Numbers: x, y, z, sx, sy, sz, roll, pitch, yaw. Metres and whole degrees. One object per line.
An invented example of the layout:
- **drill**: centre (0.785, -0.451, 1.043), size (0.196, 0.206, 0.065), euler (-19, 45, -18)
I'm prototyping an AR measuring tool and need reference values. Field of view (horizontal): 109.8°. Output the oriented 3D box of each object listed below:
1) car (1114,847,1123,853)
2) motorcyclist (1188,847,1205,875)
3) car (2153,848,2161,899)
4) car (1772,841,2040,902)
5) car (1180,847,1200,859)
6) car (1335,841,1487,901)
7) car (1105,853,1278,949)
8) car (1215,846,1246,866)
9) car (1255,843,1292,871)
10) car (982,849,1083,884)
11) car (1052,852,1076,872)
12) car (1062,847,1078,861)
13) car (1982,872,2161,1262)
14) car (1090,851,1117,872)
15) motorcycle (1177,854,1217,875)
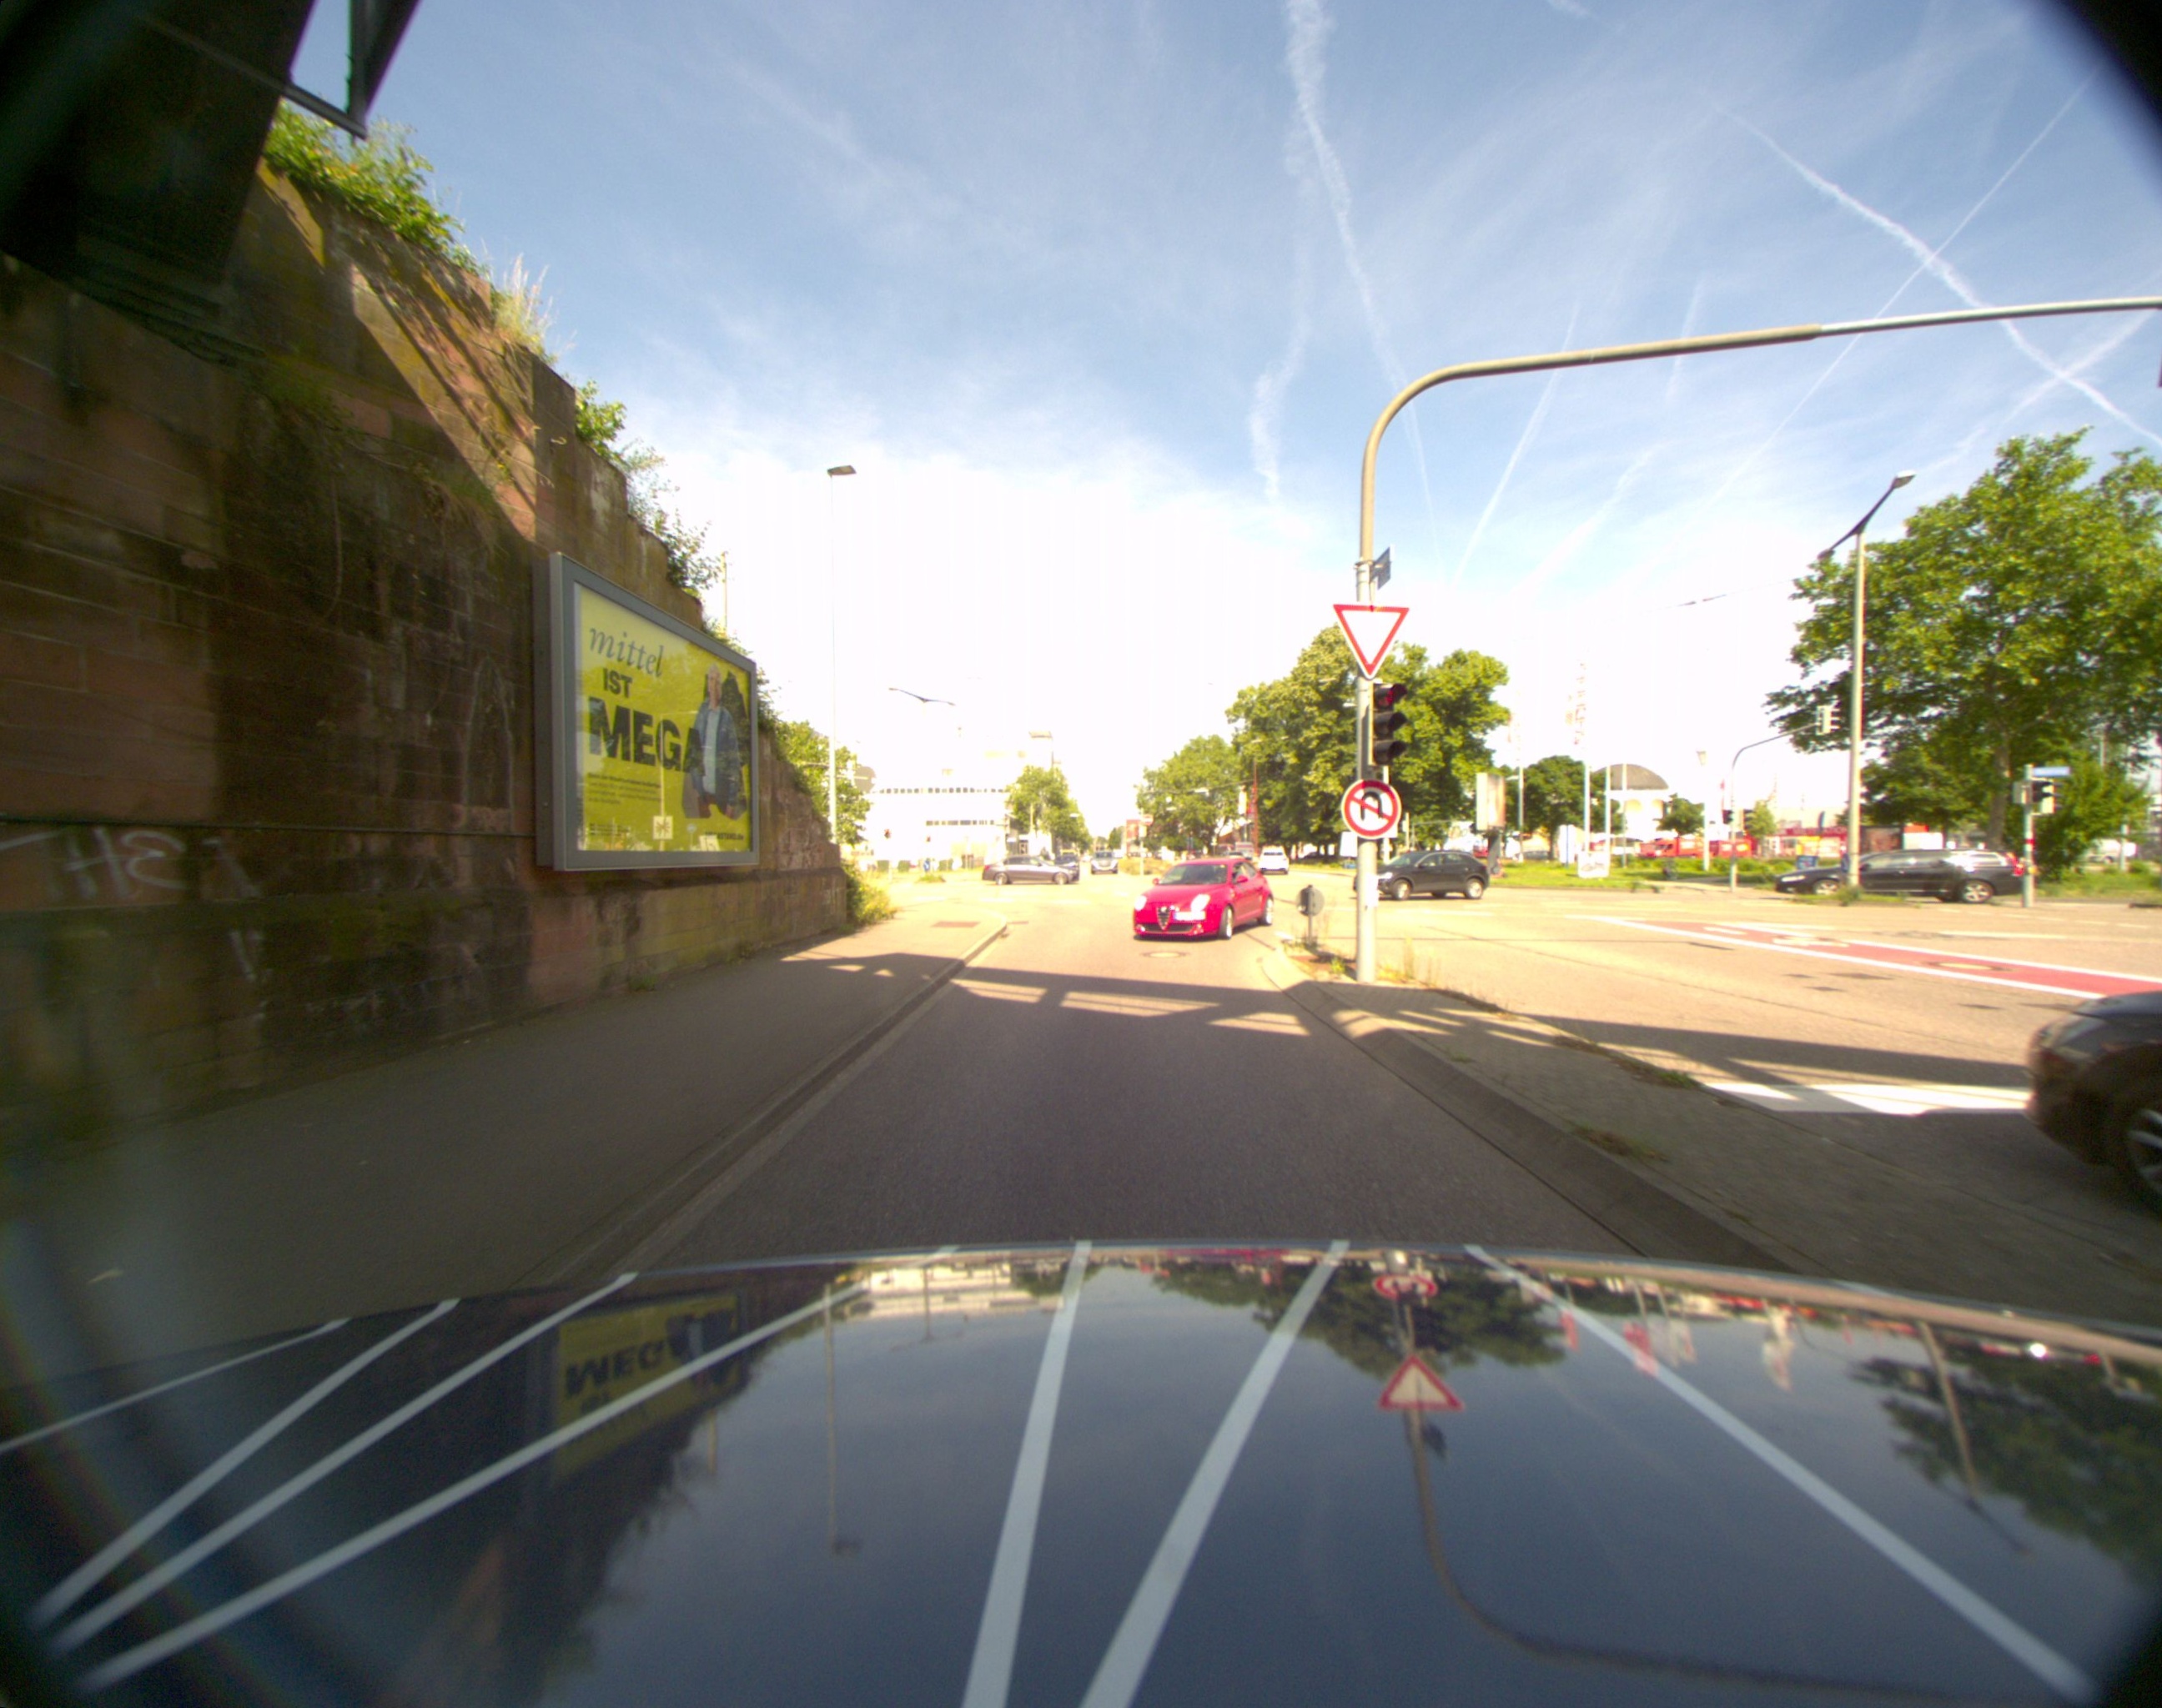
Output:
- **car**: centre (8.889, -0.978, 181.383), size (1.927, 1.507, 3.824), euler (-2, 1, -2)
- **motorcyclist**: centre (6.359, 0.398, 41.820), size (0.642, 1.519, 0.632), euler (-2, 1, -20)
- **car**: centre (31.512, 0.563, 19.393), size (4.446, 1.407, 1.707), euler (1, 2, 35)
- **car**: centre (23.154, 0.415, 21.668), size (4.911, 1.564, 1.707), euler (1, 2, 36)
- **car**: centre (14.121, -0.128, 98.749), size (1.927, 1.507, 3.824), euler (-2, 1, -2)
- **car**: centre (10.302, 0.492, 23.799), size (4.114, 1.632, 1.823), euler (-2, 1, -15)
- **car**: centre (2.278, 0.792, 14.685), size (1.794, 1.446, 3.986), euler (-1, 2, 32)
- **car**: centre (13.927, 0.178, 71.029), size (1.927, 1.712, 3.824), euler (-2, 1, -2)
- **car**: centre (12.536, 0.167, 49.391), size (1.821, 1.712, 3.642), euler (-2, 1, 22)
- **car**: centre (-2.346, 0.589, 37.247), size (4.669, 1.632, 1.826), euler (0, 1, 8)
- **car**: centre (-1.368, 0.600, 62.468), size (1.824, 1.569, 4.246), euler (0, 1, 0)
- **car**: centre (-1.231, 0.014, 88.189), size (1.824, 1.569, 4.246), euler (0, 1, 0)
- **car**: centre (4.920, 0.836, 1.338), size (1.785, 1.439, 4.119), euler (0, 1, 1)
- **car**: centre (1.640, 0.555, 56.424), size (1.824, 1.467, 4.246), euler (0, 1, 0)
- **motorcycle**: centre (6.387, 0.579, 41.819), size (1.985, 1.077, 0.777), euler (-2, 1, -20)
